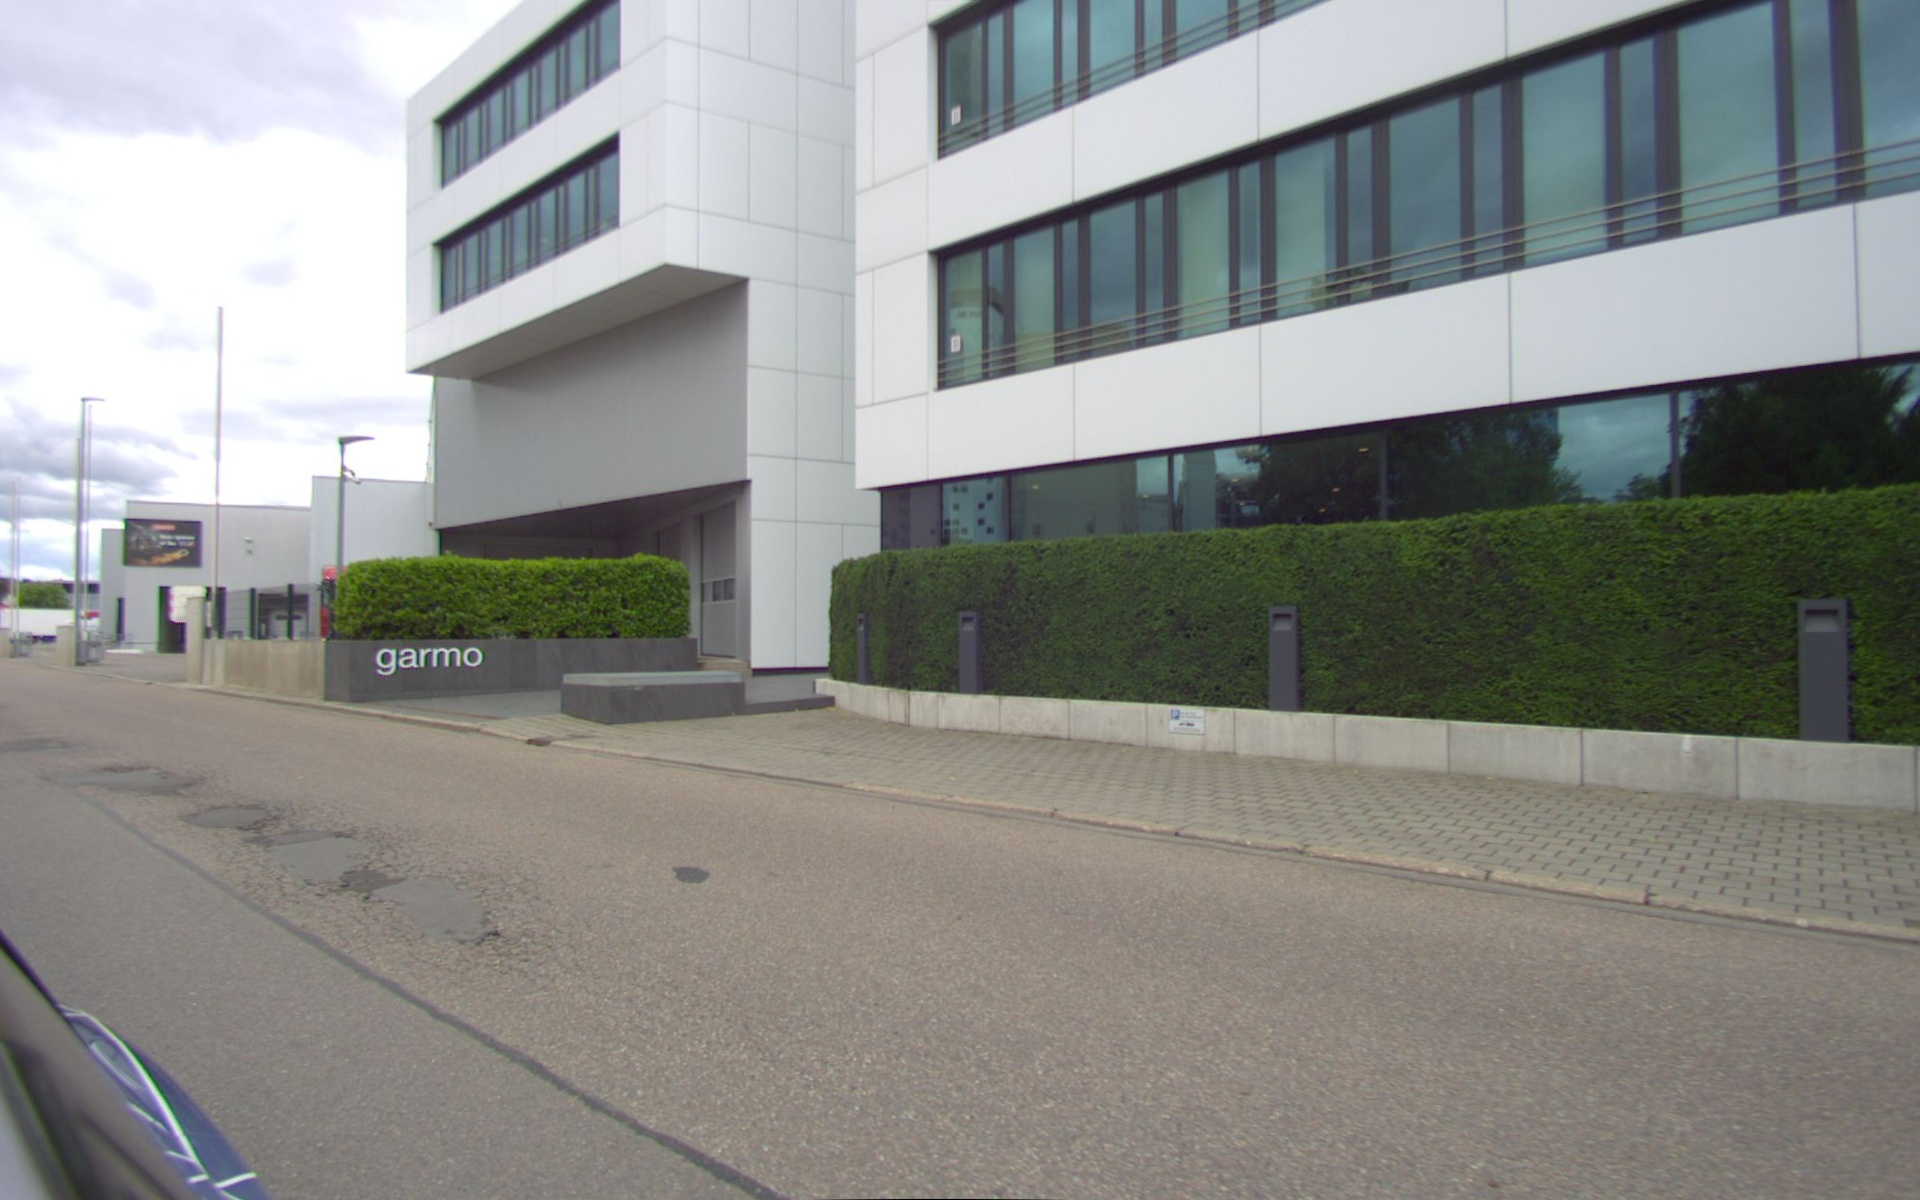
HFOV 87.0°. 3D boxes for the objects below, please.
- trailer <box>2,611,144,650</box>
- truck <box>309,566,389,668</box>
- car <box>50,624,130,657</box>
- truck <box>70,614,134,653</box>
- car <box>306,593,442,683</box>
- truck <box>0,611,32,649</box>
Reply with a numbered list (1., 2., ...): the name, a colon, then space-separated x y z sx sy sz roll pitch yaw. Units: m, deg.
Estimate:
1. trailer: -102.662 3.676 117.498 11.842 4.164 3.057 3 -4 -31
2. truck: -26.471 0.797 44.110 2.704 4.062 7.114 0 -2 -29
3. car: -80.348 3.723 93.570 5.341 2.751 2.248 -1 -2 -31
4. truck: -97.259 3.868 114.772 4.797 4.237 3.058 3 -4 -27
5. car: -12.657 0.789 21.792 3.178 1.775 1.633 -2 -1 42
6. truck: -107.731 3.379 113.599 3.047 4.164 4.815 -2 -4 41
